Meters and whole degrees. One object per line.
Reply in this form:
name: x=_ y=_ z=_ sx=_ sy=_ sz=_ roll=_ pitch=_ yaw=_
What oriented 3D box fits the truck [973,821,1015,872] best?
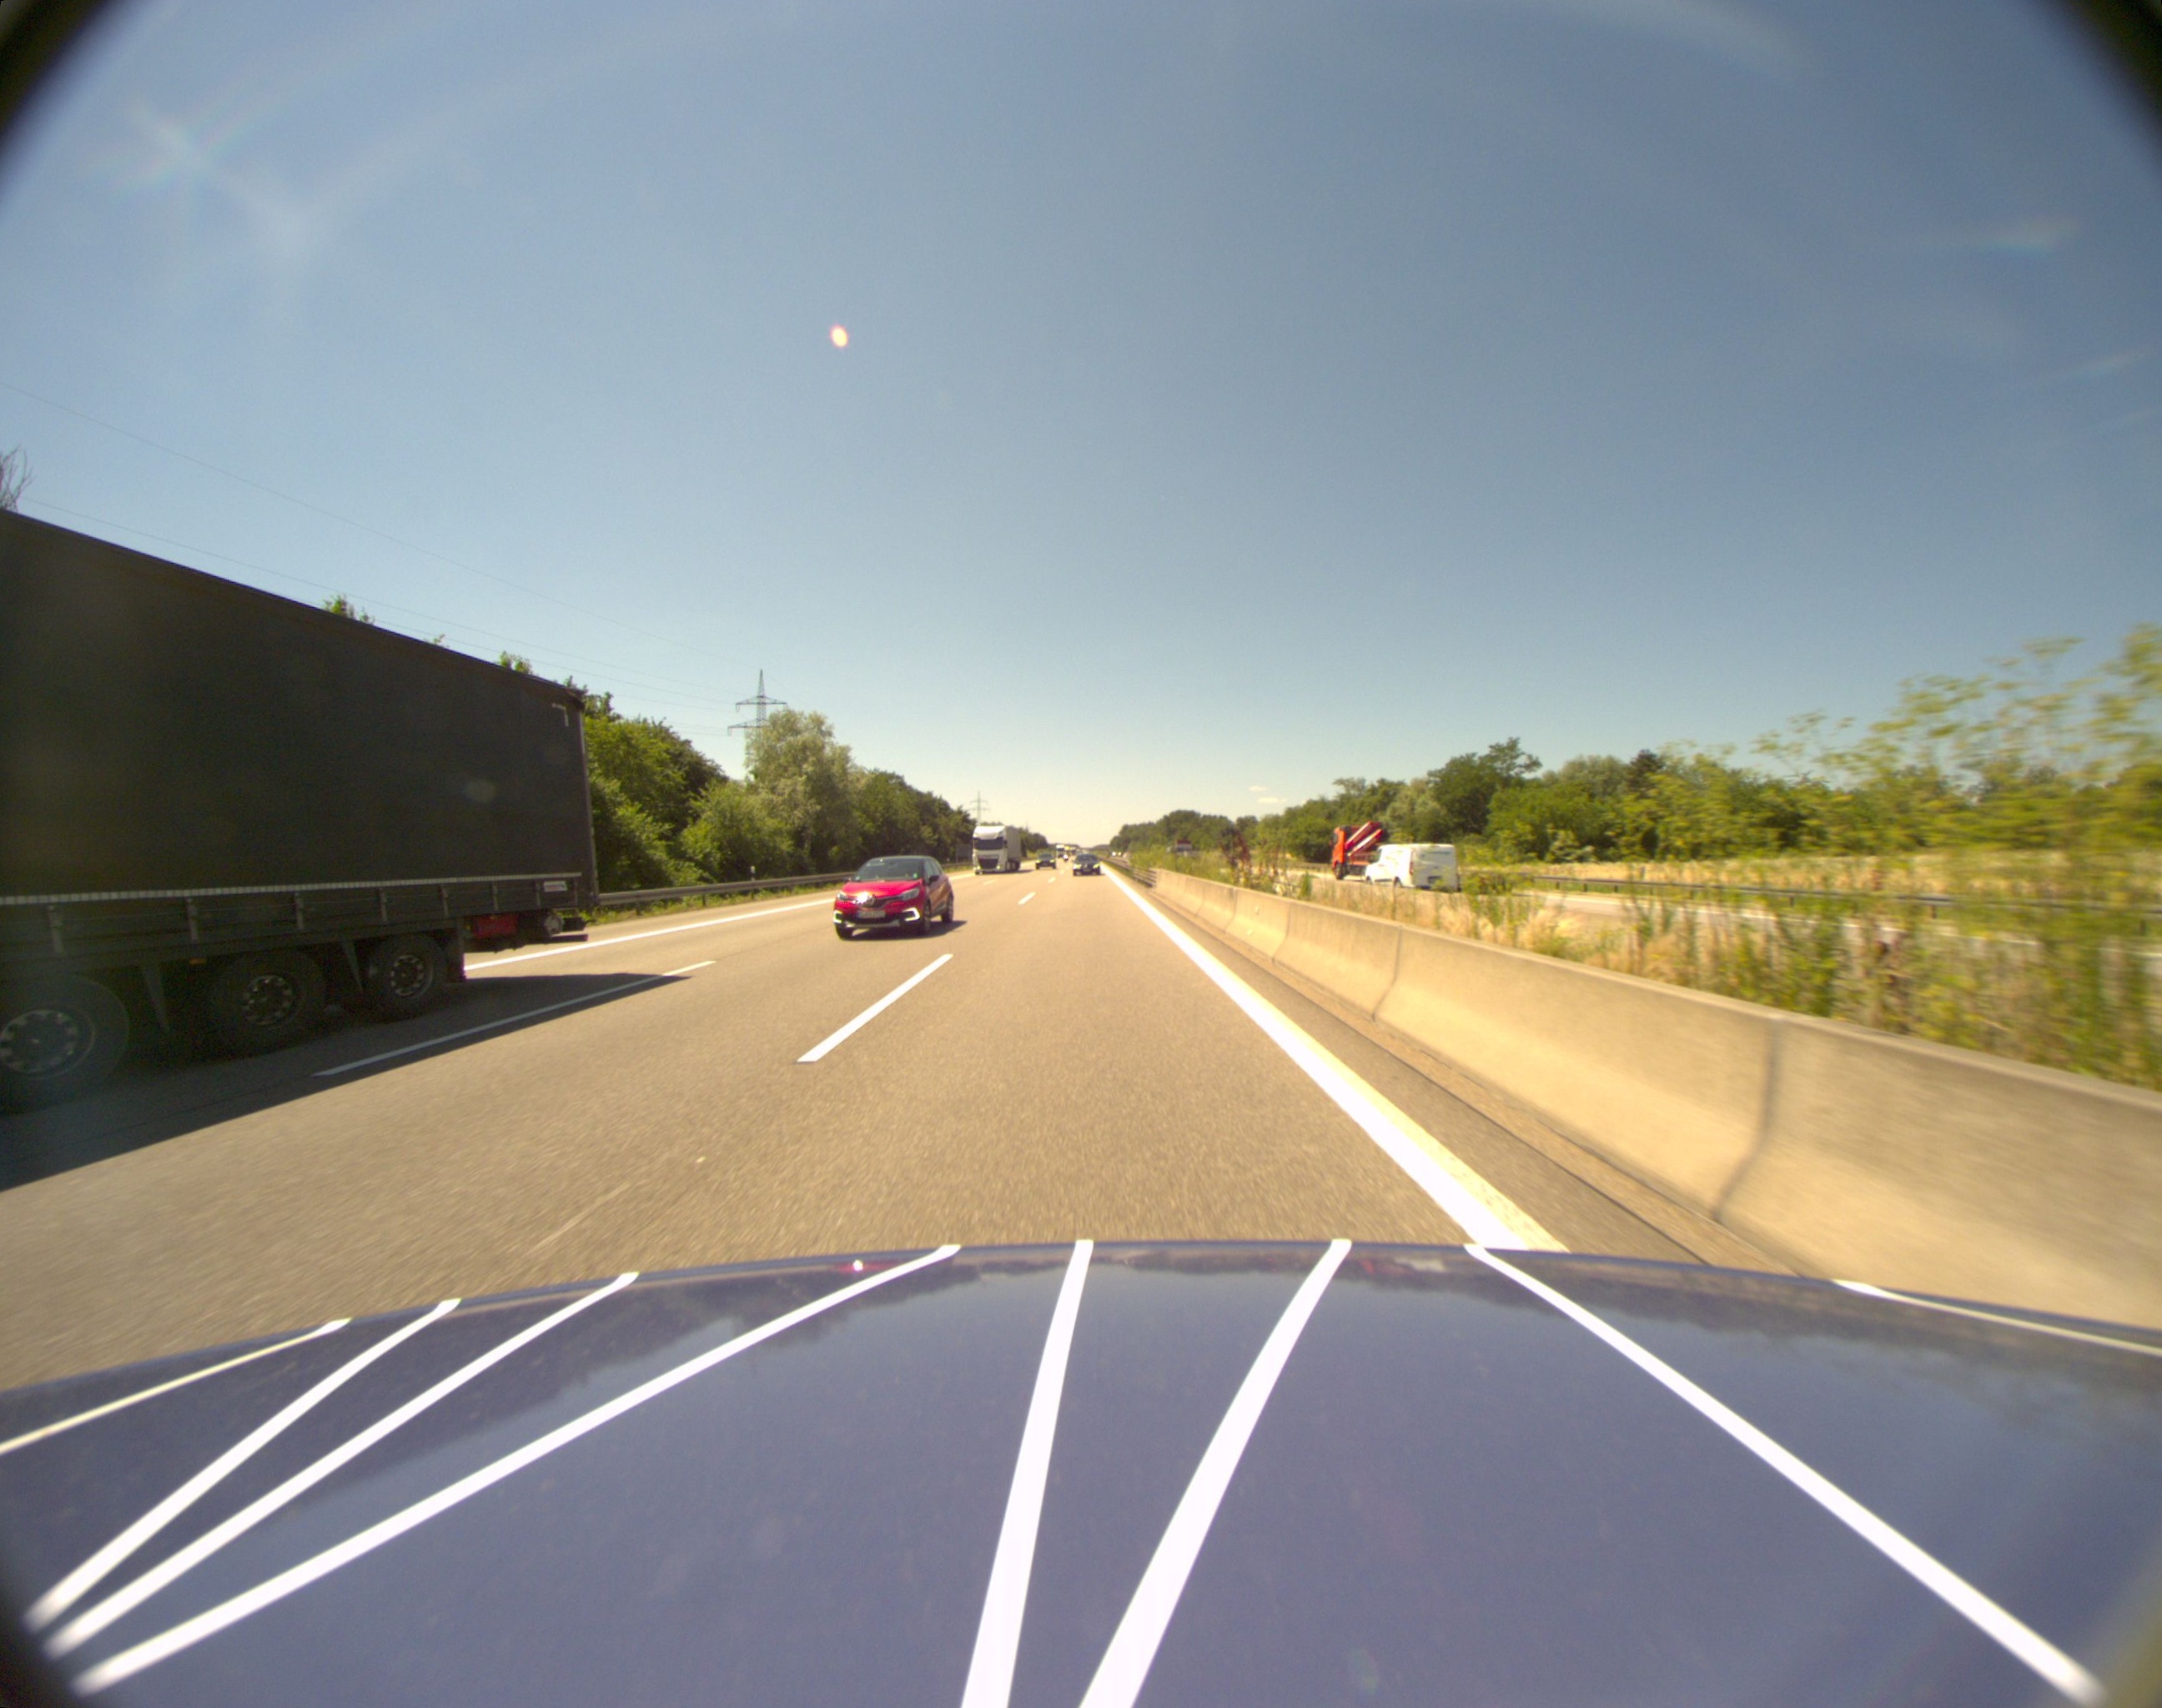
truck: x=-7.266 y=-0.618 z=64.228 sx=2.743 sy=4.096 sz=6.124 roll=-2 pitch=1 yaw=1

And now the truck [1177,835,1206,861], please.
truck: x=18.359 y=-0.985 z=127.015 sx=2.767 sy=3.991 sz=13.521 roll=1 pitch=0 yaw=0

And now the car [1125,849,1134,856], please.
car: x=10.905 y=-0.308 z=170.708 sx=1.808 sy=1.559 sz=4.095 roll=1 pitch=0 yaw=0

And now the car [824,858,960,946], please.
car: x=-3.832 y=0.909 z=16.125 sx=1.808 sy=1.536 sz=4.000 roll=-2 pitch=0 yaw=1

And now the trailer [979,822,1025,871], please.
trailer: x=-7.187 y=-0.653 z=71.113 sx=2.743 sy=4.083 sz=13.121 roll=-2 pitch=0 yaw=1

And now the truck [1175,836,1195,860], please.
truck: x=18.380 y=-1.024 z=134.430 sx=2.767 sy=3.991 sz=5.750 roll=1 pitch=0 yaw=0

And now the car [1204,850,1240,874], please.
car: x=9.682 y=0.494 z=52.484 sx=1.771 sy=1.570 sz=3.818 roll=1 pitch=0 yaw=1

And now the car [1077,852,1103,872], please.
car: x=0.636 y=0.557 z=55.207 sx=1.808 sy=1.385 sz=3.999 roll=-2 pitch=0 yaw=0

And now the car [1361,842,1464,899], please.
car: x=12.678 y=0.590 z=29.424 sx=1.887 sy=1.976 sz=4.738 roll=2 pitch=0 yaw=0

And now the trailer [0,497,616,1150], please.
trailer: x=-8.255 y=-0.171 z=4.154 sx=2.796 sy=4.139 sz=13.573 roll=-1 pitch=0 yaw=1

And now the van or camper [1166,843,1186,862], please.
van or camper: x=14.011 y=-0.233 z=112.235 sx=2.176 sy=2.573 sz=5.872 roll=1 pitch=1 yaw=0

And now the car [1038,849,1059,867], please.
car: x=-3.225 y=0.376 z=75.399 sx=1.878 sy=1.614 sz=4.004 roll=-1 pitch=0 yaw=0

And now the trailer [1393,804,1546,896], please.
trailer: x=17.421 y=-0.182 z=34.893 sx=2.659 sy=3.640 sz=8.535 roll=1 pitch=0 yaw=1

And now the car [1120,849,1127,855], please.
car: x=11.753 y=-0.559 z=209.533 sx=1.813 sy=1.638 sz=3.961 roll=1 pitch=0 yaw=0

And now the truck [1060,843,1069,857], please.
truck: x=-5.047 y=-1.221 z=232.174 sx=2.573 sy=3.871 sz=5.722 roll=-2 pitch=1 yaw=0

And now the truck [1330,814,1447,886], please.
truck: x=17.540 y=-0.240 z=44.306 sx=2.659 sy=3.640 sz=10.188 roll=1 pitch=0 yaw=1

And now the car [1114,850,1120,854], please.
car: x=11.769 y=-0.620 z=251.686 sx=1.813 sy=1.527 sz=3.961 roll=1 pitch=0 yaw=0
